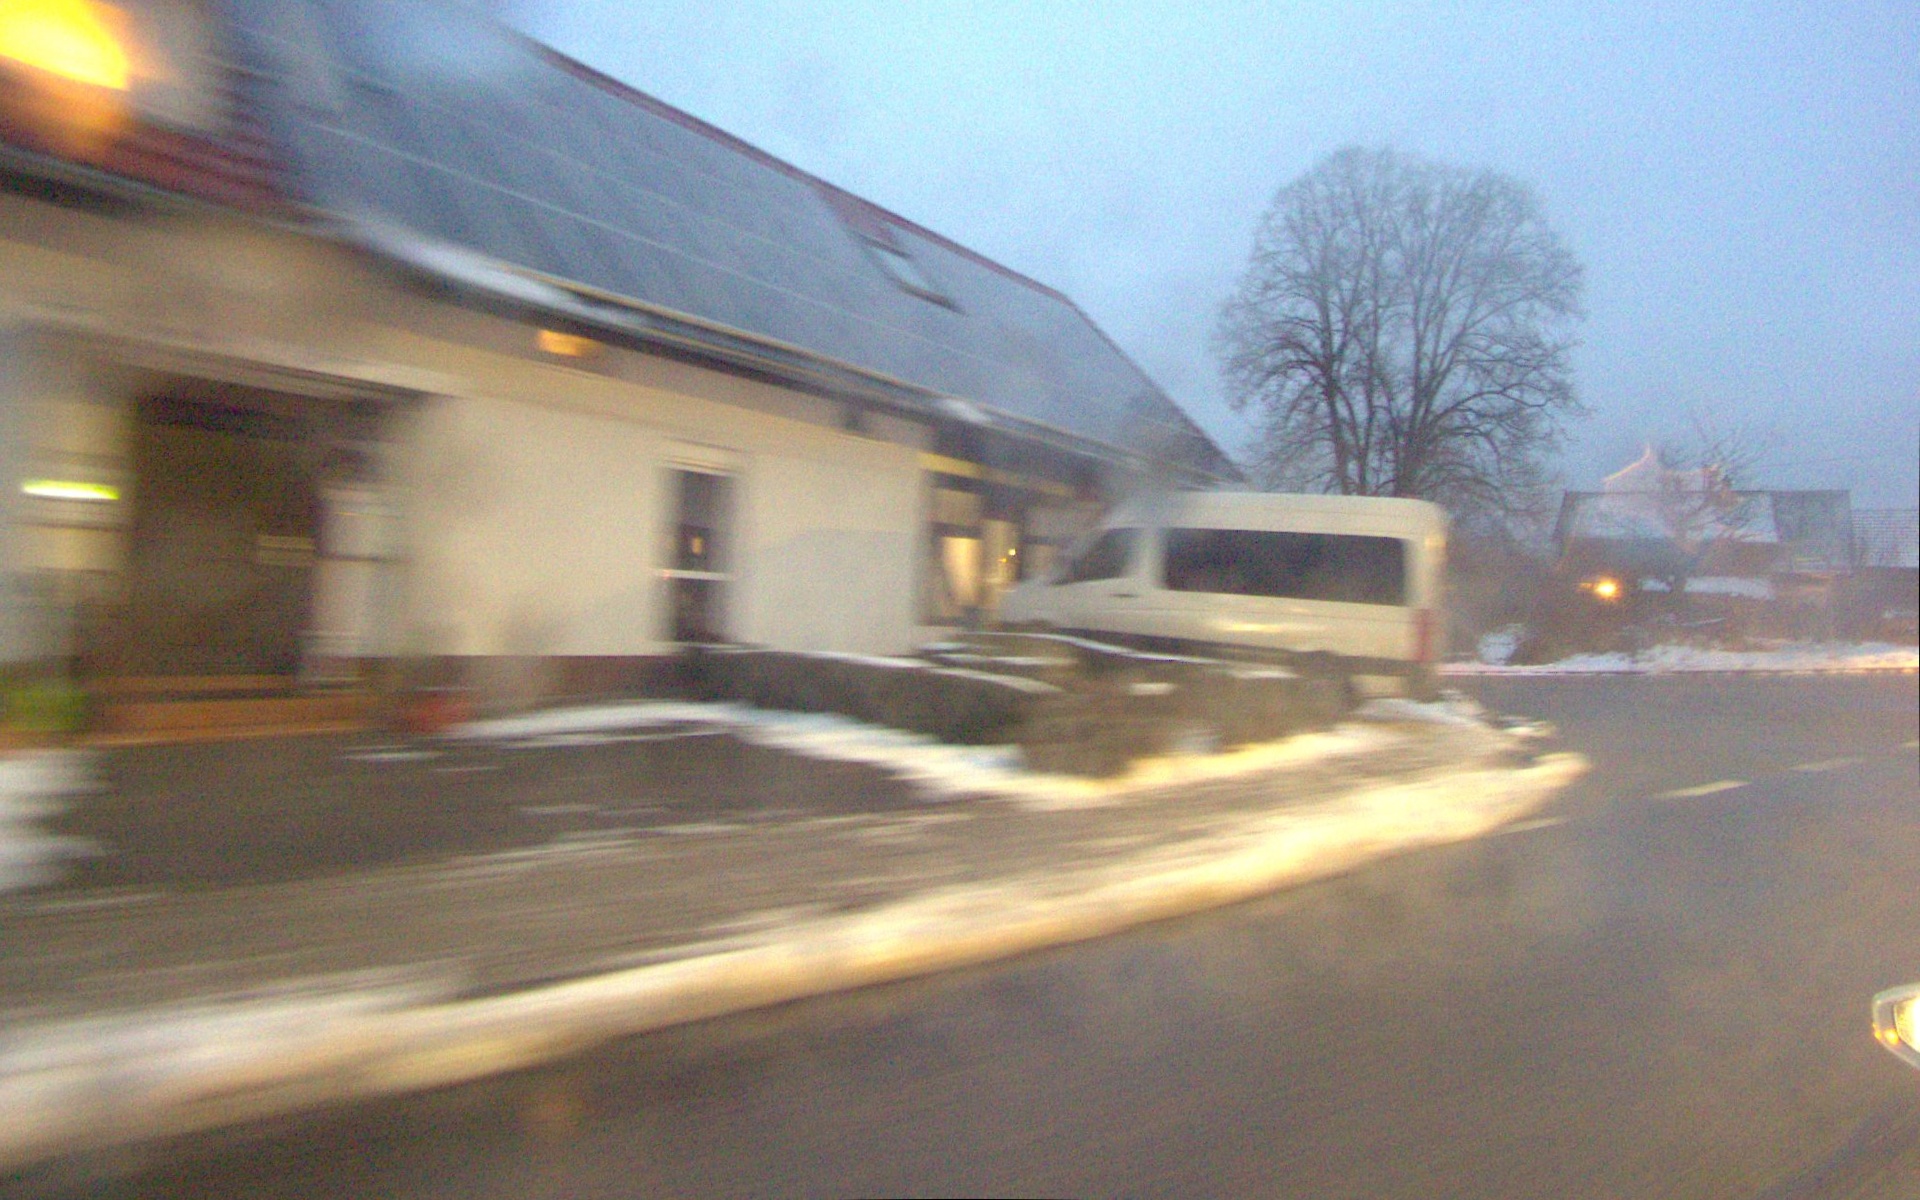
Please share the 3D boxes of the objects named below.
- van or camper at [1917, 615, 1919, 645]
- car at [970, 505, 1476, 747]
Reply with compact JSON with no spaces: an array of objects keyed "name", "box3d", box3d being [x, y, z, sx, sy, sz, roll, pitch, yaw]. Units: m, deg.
[{"name":"van or camper","box3d":[35.716,1.079,36.140,1.265,1.116,3.264,3,-1,34]},{"name":"car","box3d":[3.278,0.208,13.117,6.006,2.587,1.996,2,0,30]}]
